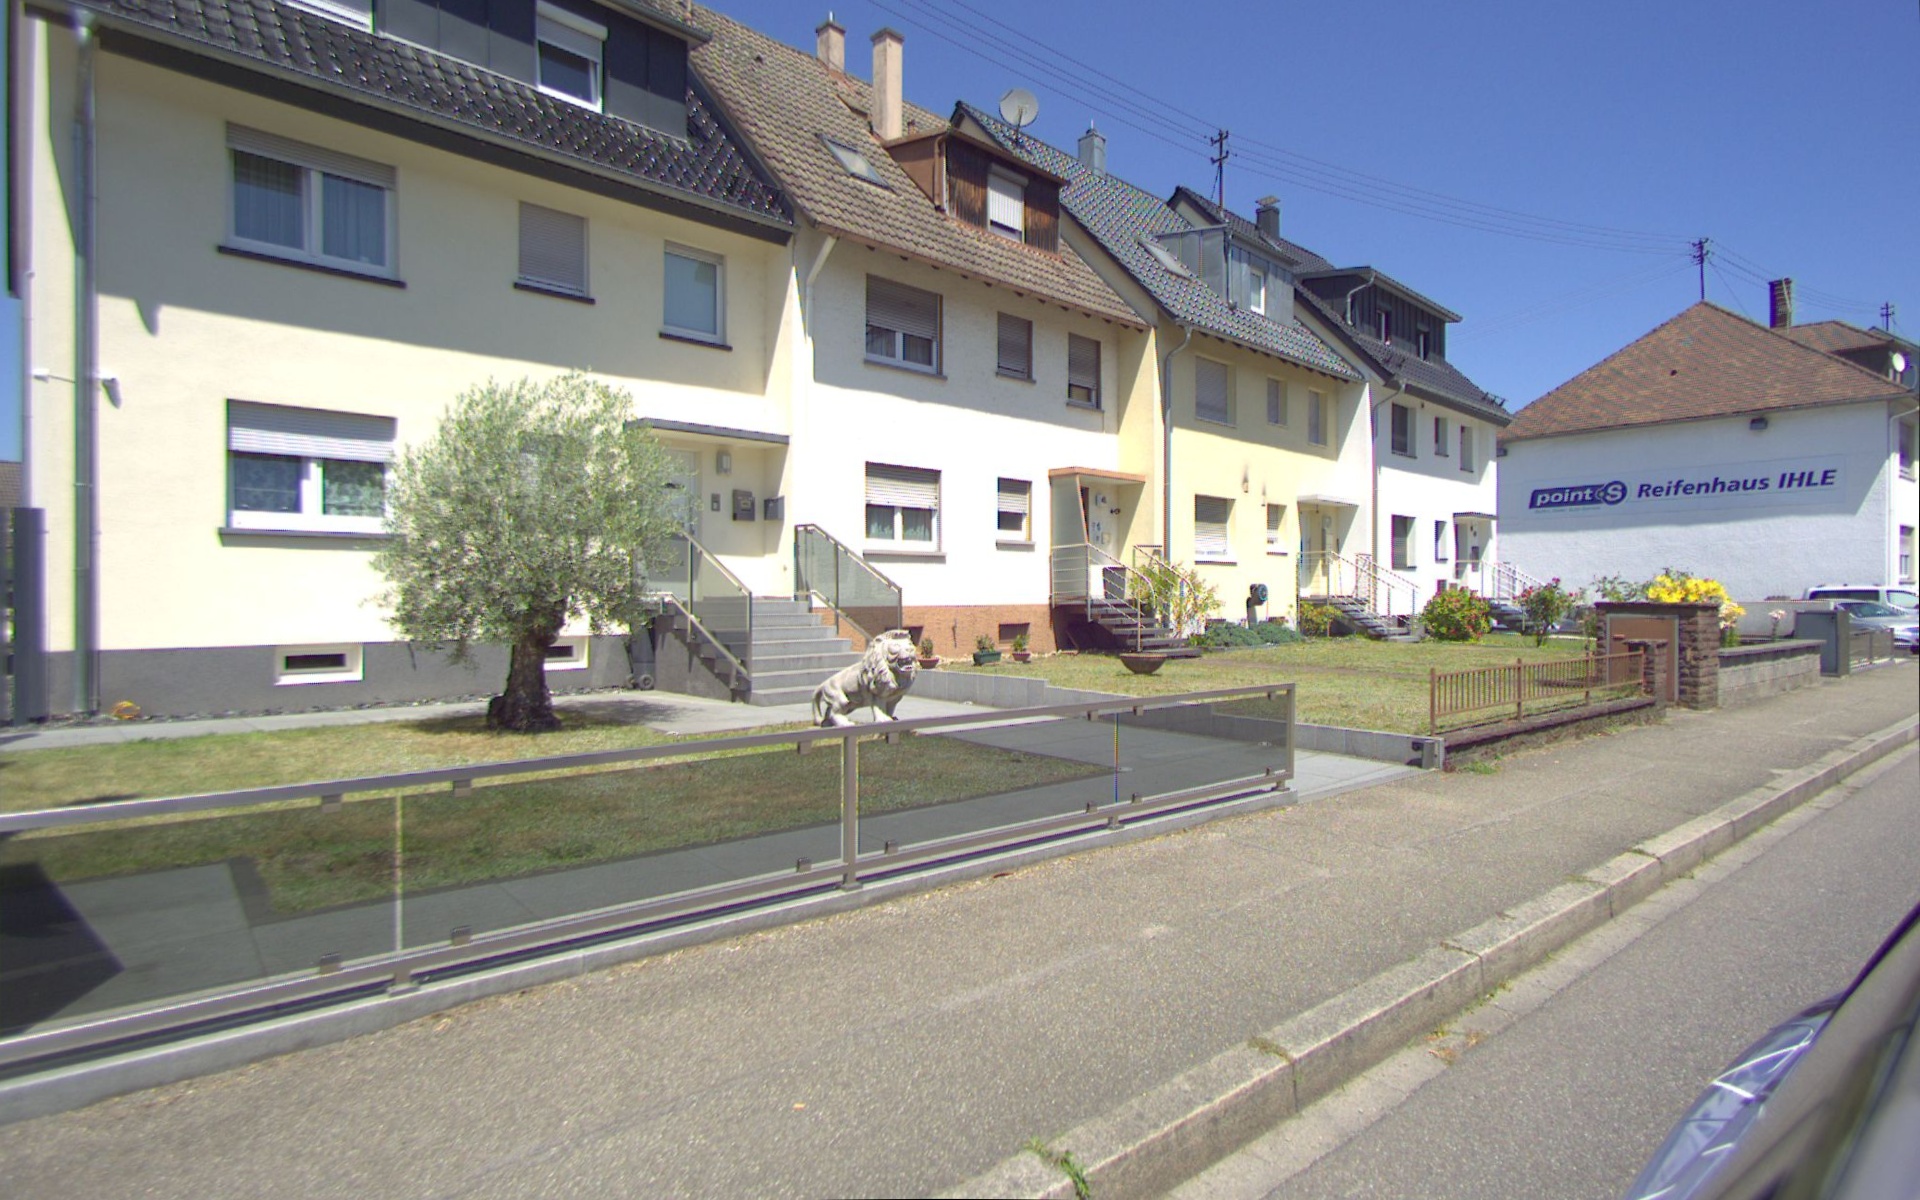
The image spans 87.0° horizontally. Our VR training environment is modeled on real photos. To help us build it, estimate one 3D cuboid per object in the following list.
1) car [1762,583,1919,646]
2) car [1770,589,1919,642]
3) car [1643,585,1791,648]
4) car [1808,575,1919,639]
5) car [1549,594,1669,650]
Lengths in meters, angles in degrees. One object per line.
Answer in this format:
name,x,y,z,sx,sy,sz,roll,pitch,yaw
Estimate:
car,24.258,0.376,27.141,1.721,1.567,4.307,-2,-1,-5
car,26.509,0.448,29.141,1.735,1.427,4.652,0,-3,-36
car,22.144,0.483,29.830,1.612,1.663,4.291,-2,-1,10
car,28.565,0.207,30.593,1.711,1.855,4.290,1,-3,-45
car,20.210,0.670,31.731,1.686,1.582,4.105,-2,-1,11
